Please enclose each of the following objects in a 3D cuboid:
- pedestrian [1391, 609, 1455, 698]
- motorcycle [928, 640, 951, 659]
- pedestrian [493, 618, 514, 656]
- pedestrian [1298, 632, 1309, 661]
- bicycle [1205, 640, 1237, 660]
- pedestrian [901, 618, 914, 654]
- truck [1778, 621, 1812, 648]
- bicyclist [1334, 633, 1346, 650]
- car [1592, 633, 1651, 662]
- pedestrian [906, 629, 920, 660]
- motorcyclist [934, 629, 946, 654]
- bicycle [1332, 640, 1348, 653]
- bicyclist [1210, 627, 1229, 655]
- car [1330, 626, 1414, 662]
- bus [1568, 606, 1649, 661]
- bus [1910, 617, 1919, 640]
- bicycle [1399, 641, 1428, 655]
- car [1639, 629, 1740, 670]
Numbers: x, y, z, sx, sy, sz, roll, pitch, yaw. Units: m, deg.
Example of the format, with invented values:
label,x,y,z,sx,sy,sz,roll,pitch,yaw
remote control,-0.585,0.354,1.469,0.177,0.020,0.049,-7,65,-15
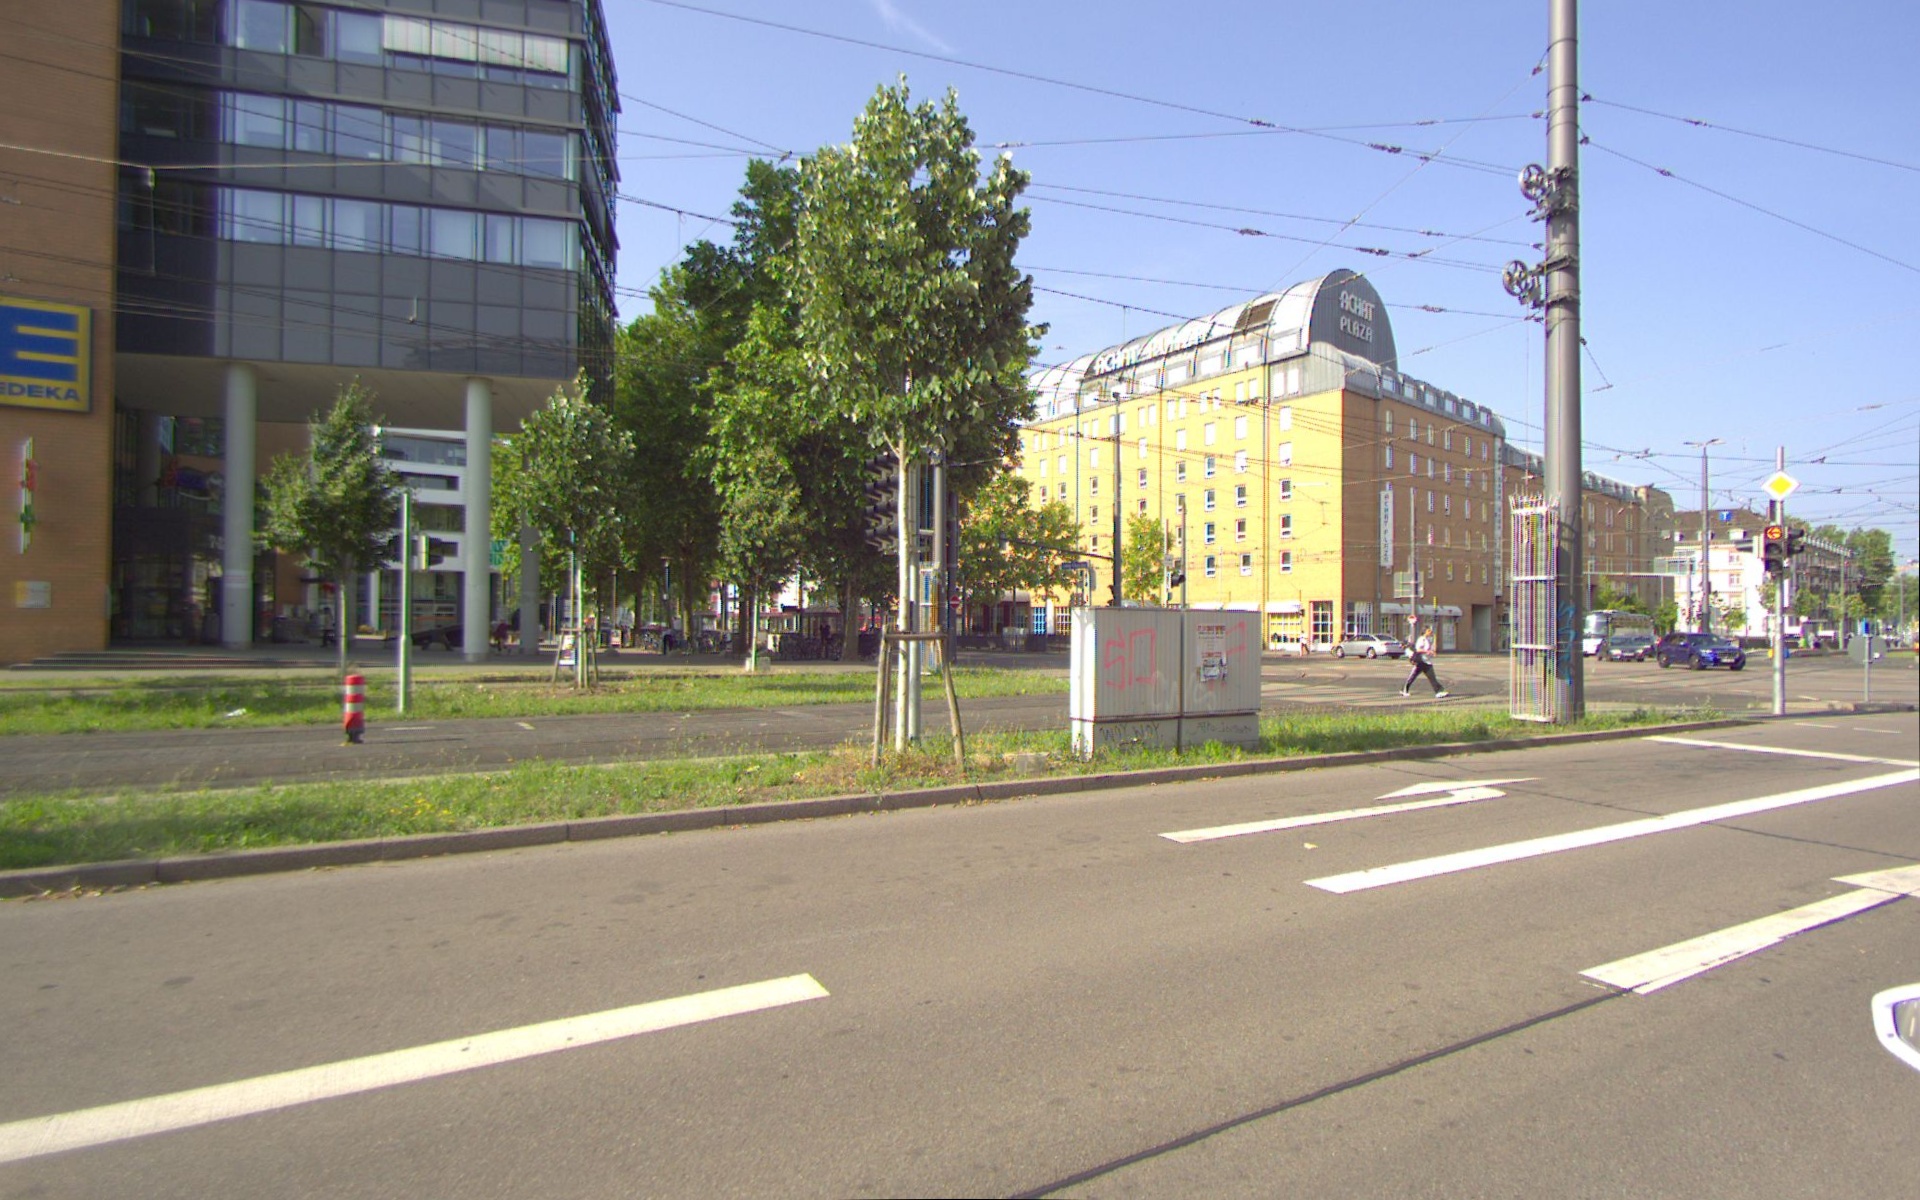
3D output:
label,x,y,z,sx,sy,sz,roll,pitch,yaw
pedestrian,10.920,1.242,23.708,0.770,2.040,1.145,3,-3,-41
motorcycle,-1.137,2.725,55.485,0.281,1.008,1.677,3,-3,-37
pedestrian,-19.092,1.551,42.033,0.651,1.563,0.617,1,-1,-12
pedestrian,24.470,3.307,71.600,0.735,1.978,0.884,0,-1,21
bicycle,17.003,3.247,65.458,2.260,1.222,0.546,3,-2,-30
pedestrian,-3.064,2.094,58.322,0.534,2.040,0.486,3,-2,-38
truck,83.530,3.439,100.472,4.706,2.633,1.975,2,-2,-43
bicyclist,26.659,2.897,70.440,0.603,1.144,0.519,3,-2,-32
car,37.359,2.702,56.827,1.961,1.506,4.221,1,-3,21
pedestrian,-2.706,2.554,57.864,0.504,1.748,0.527,3,-3,-38
motorcyclist,-1.110,2.284,55.479,0.414,1.339,0.527,3,-3,-37
bicycle,26.641,3.234,70.422,1.382,0.883,0.344,3,-3,-32
bicyclist,16.912,2.688,65.446,0.956,1.769,0.661,3,-2,-30
car,23.963,2.533,58.587,1.969,2.040,4.596,1,-2,-19
bus,52.327,2.790,80.852,12.134,3.972,2.720,4,-3,-43
bus,87.620,2.625,90.973,3.970,2.040,1.976,2,-2,-42
bicycle,33.513,3.562,74.260,0.417,0.982,1.940,4,-3,-45
car,32.444,2.206,44.838,1.952,1.657,4.418,1,-2,11
